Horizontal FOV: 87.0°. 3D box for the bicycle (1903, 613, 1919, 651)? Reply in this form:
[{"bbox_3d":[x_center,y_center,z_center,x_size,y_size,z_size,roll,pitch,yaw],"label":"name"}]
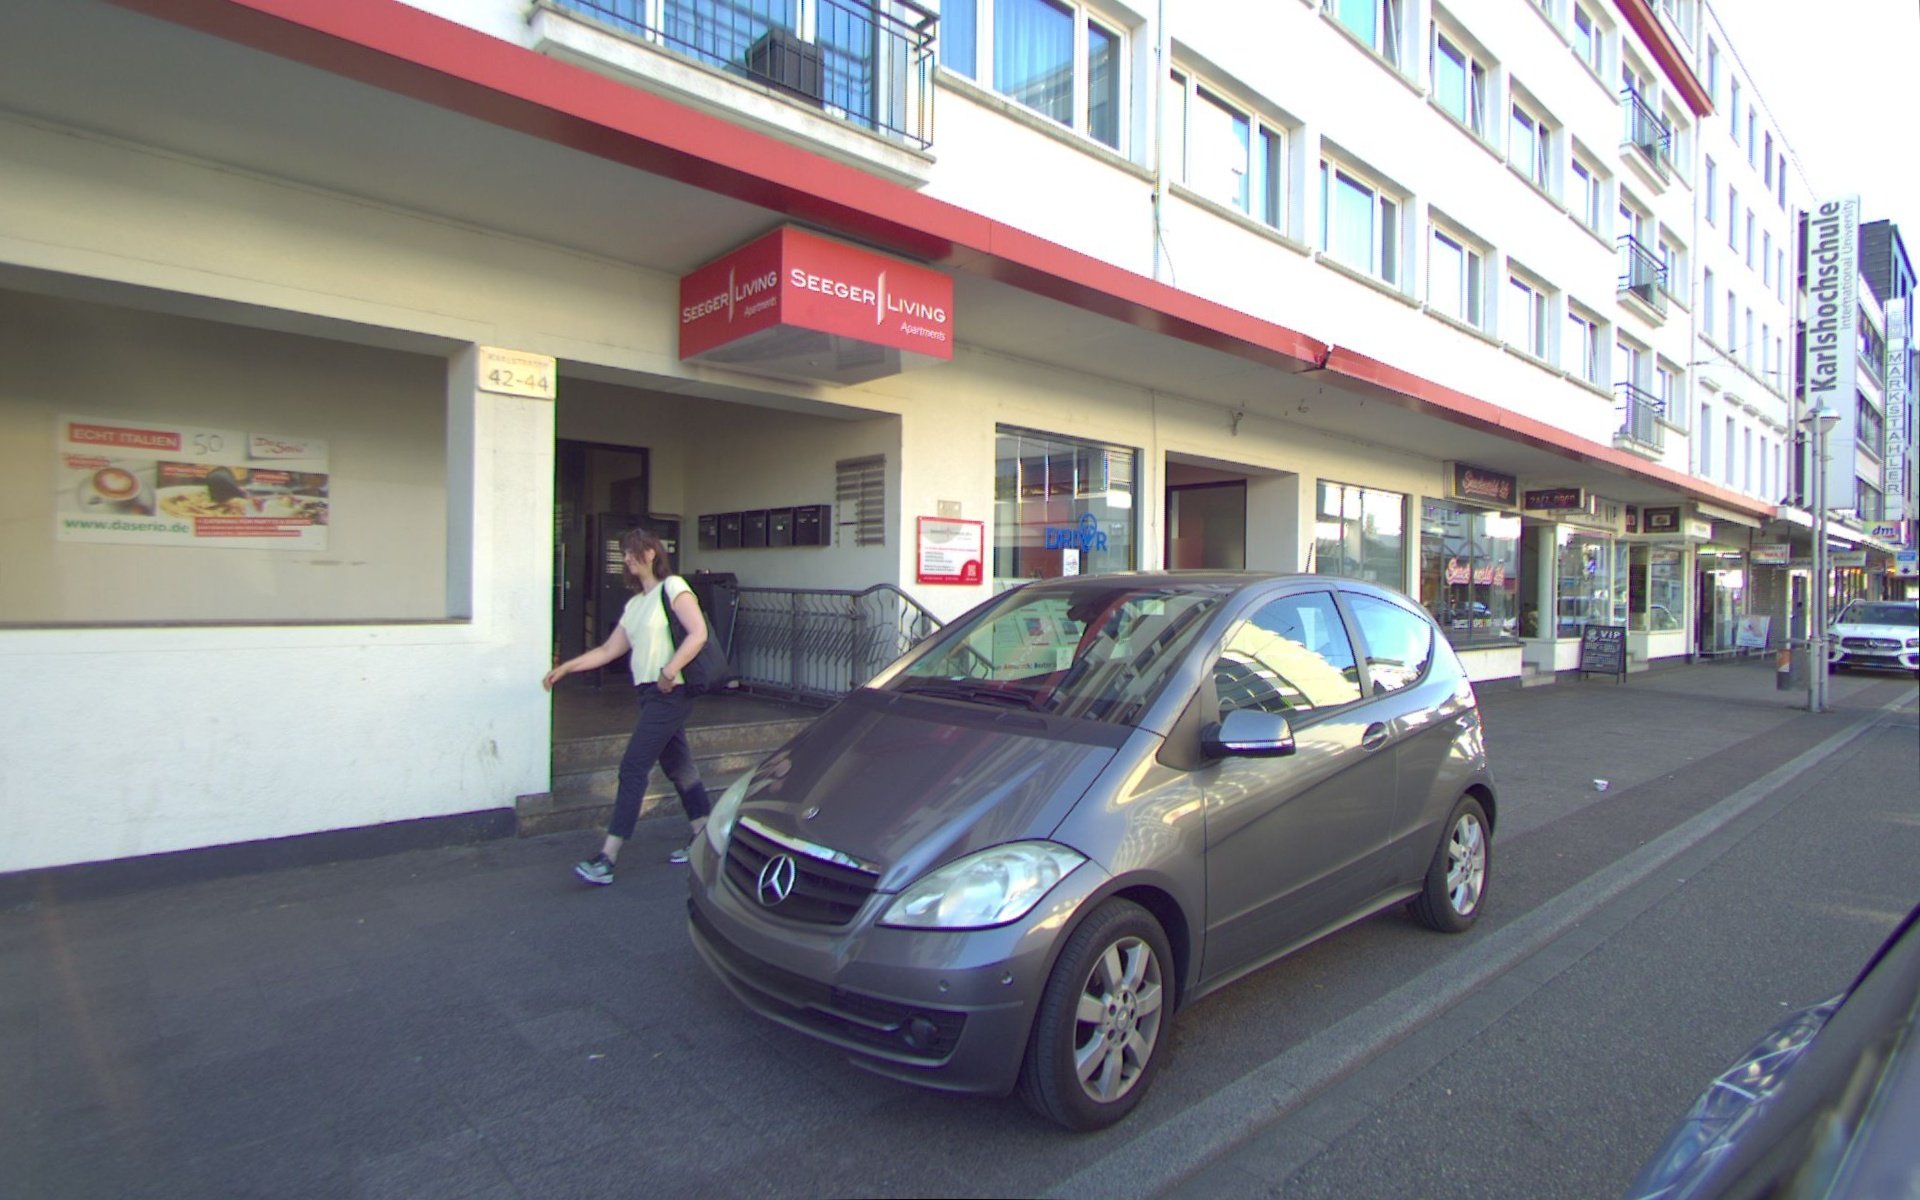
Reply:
[{"bbox_3d":[28.201,0.951,29.393,0.314,1.093,1.132,0,2,-43],"label":"bicycle"}]

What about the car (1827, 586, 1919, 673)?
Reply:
[{"bbox_3d":[21.204,0.591,22.856,5.105,1.745,1.852,0,3,-43],"label":"car"}]

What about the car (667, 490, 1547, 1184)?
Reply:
[{"bbox_3d":[0.847,0.545,4.261,3.585,1.652,1.748,1,1,-42],"label":"car"}]

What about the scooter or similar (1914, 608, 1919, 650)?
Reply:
[{"bbox_3d":[28.553,0.872,29.512,0.314,1.247,0.994,0,2,-43],"label":"scooter or similar"}]

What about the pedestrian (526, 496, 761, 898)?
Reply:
[{"bbox_3d":[-1.611,0.425,5.127,0.915,1.797,0.806,0,1,-37],"label":"pedestrian"}]
